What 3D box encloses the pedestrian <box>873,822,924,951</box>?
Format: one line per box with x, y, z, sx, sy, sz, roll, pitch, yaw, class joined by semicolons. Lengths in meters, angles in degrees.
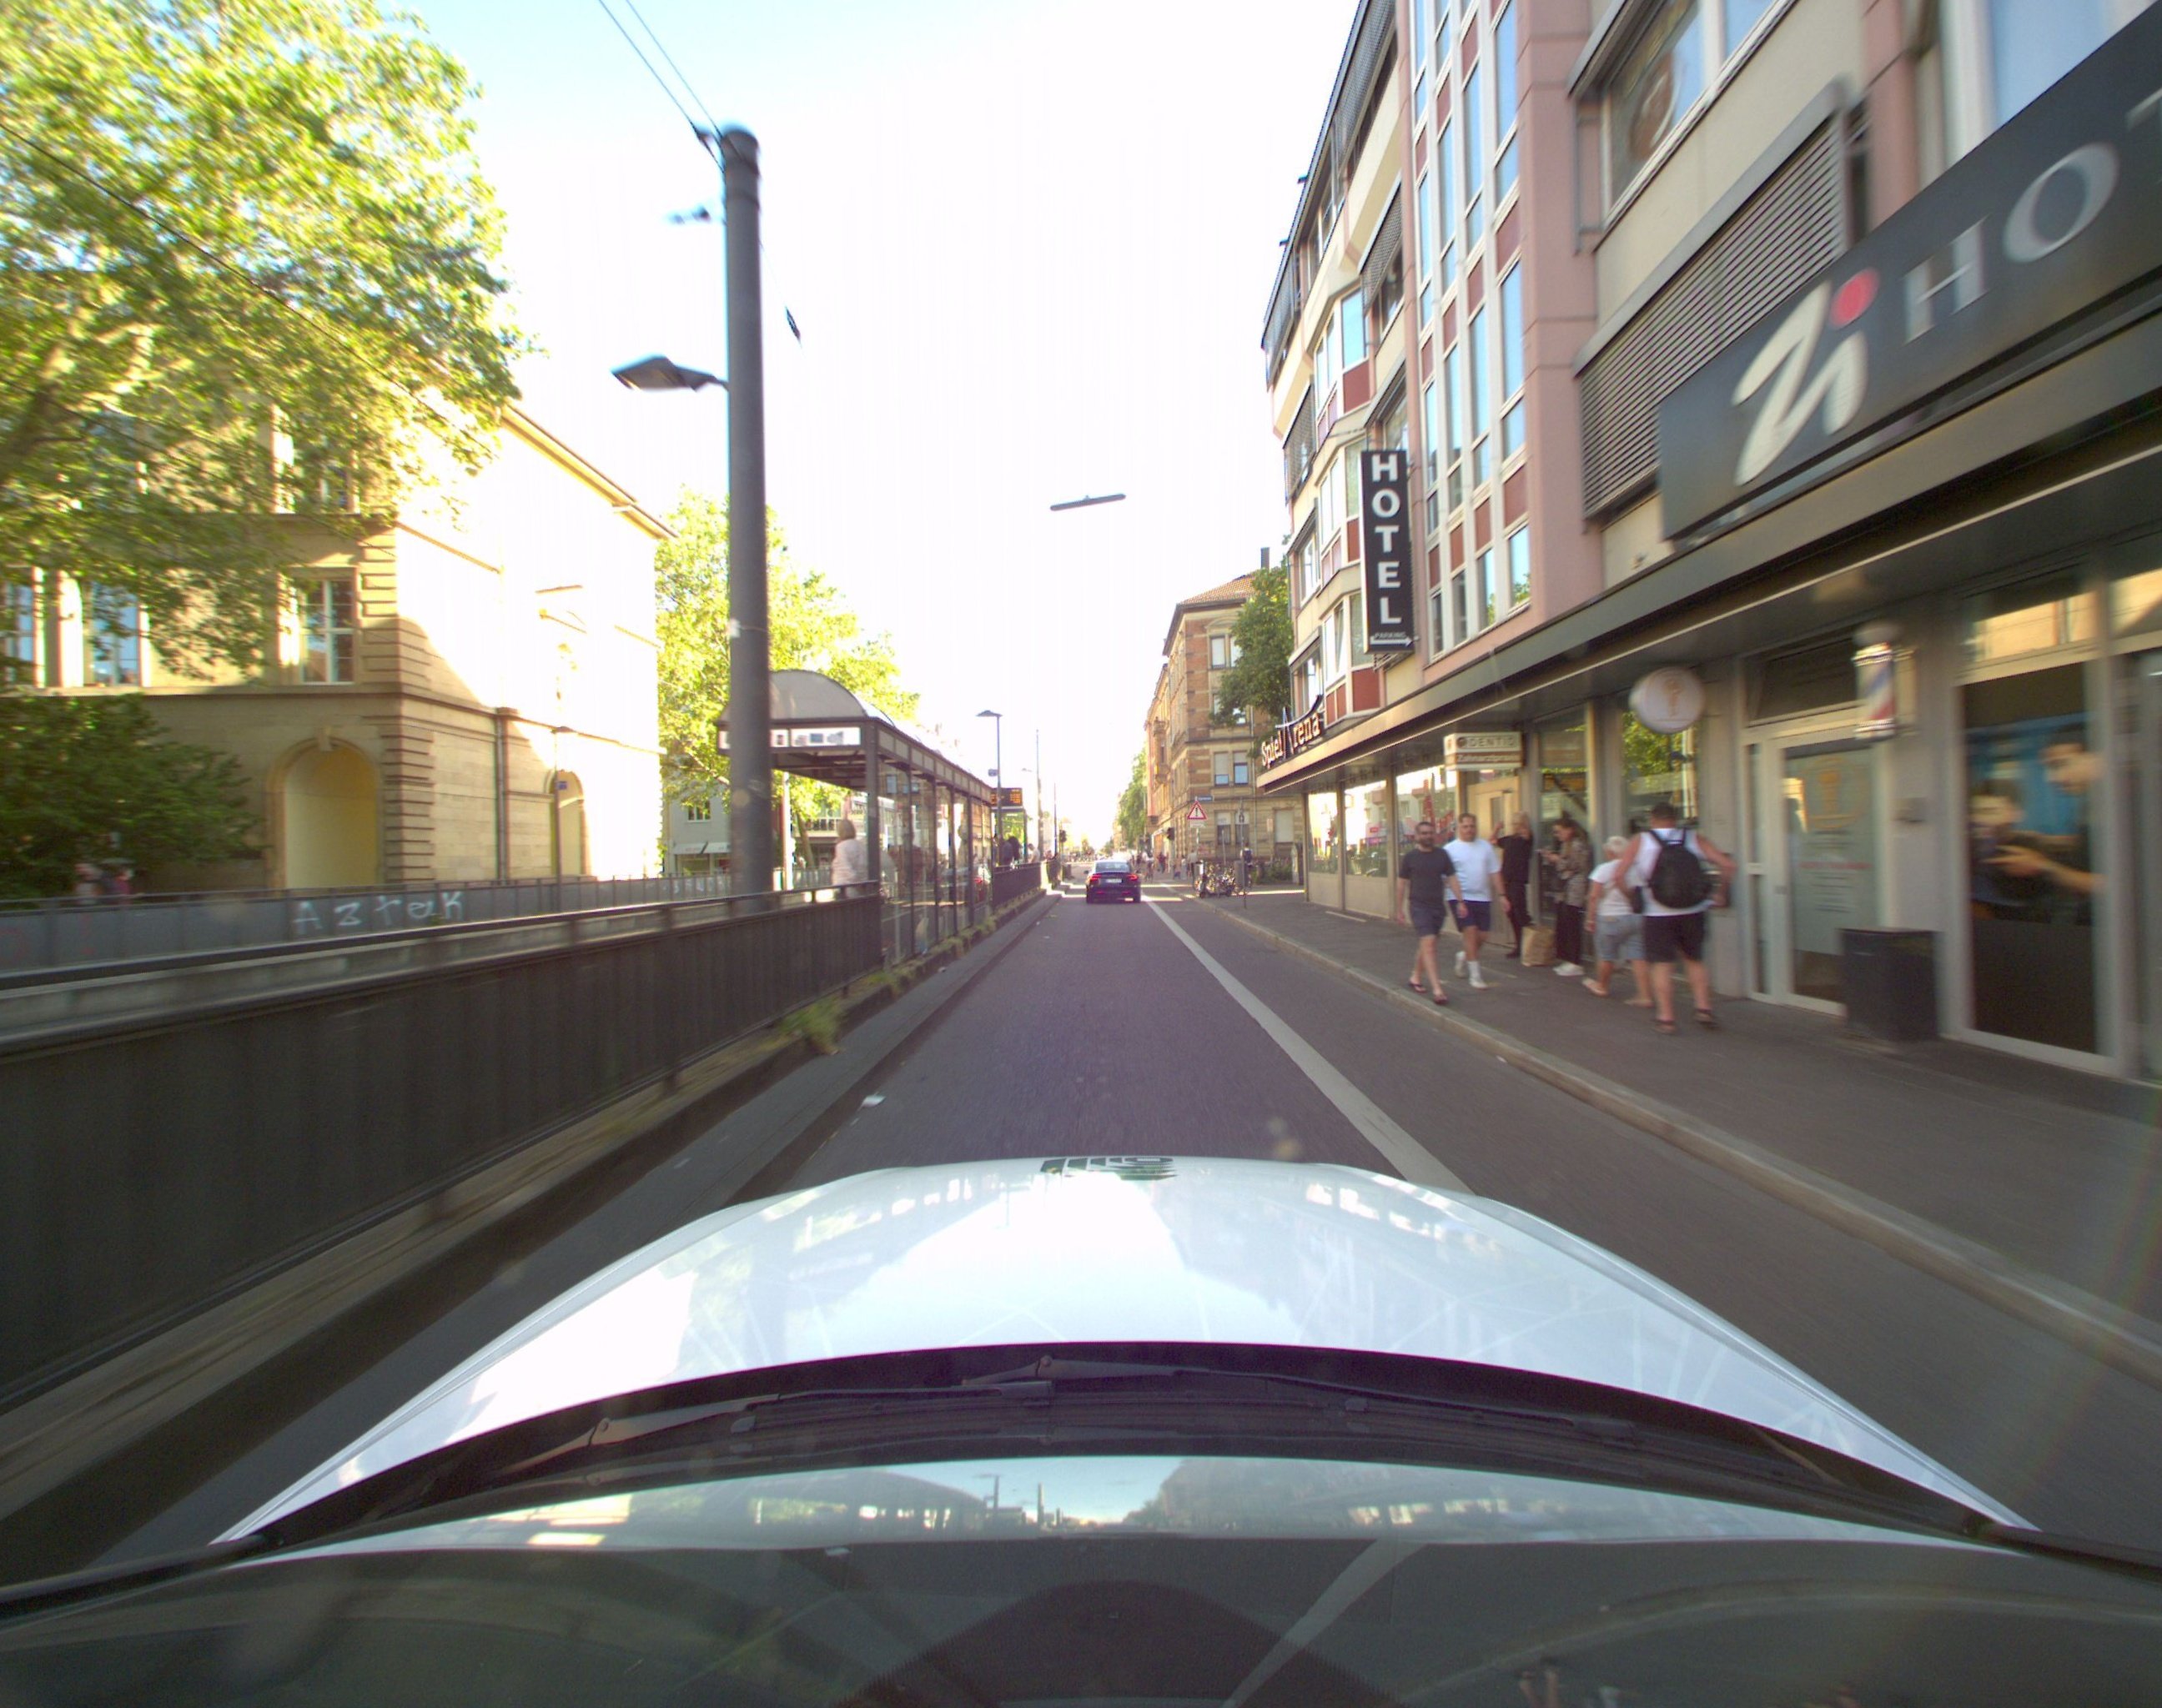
-2.293;0.399;10.246;0.545;1.572;0.318;0;-1;-37;pedestrian

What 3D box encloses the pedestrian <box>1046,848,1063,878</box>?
-1.639;0.568;50.382;0.587;1.821;0.948;0;0;34;pedestrian

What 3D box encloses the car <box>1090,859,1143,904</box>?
1.160;0.890;28.058;1.714;1.405;3.710;0;0;0;car

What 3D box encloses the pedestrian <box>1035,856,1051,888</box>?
-1.566;0.745;33.758;0.475;1.329;0.356;-2;0;31;pedestrian

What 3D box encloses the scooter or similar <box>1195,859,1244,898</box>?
4.643;0.811;27.359;1.473;1.229;0.592;-3;0;1;scooter or similar

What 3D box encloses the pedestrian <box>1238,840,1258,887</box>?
7.195;0.415;35.133;0.713;1.985;0.943;0;-4;1;pedestrian

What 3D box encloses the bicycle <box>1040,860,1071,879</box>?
-1.600;0.964;50.361;1.920;1.094;0.602;1;-1;35;bicycle

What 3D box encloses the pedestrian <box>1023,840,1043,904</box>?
-1.614;0.615;27.549;0.536;2.120;0.808;-2;0;1;pedestrian

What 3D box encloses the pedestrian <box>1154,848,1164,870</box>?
6.146;0.378;64.395;0.464;1.728;0.591;-2;0;37;pedestrian

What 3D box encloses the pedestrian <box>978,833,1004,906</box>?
-2.059;0.347;18.681;0.492;1.648;0.590;-1;0;0;pedestrian

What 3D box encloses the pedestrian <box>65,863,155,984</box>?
-16.815;1.179;14.120;0.687;2.013;0.701;-1;0;-9;pedestrian

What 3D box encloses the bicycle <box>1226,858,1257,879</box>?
9.086;0.820;46.132;0.446;1.115;1.793;-1;0;-40;bicycle

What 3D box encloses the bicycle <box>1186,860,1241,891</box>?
4.979;0.806;30.688;1.940;1.107;0.564;-2;0;-1;bicycle

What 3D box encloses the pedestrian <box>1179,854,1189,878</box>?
6.120;0.722;48.334;0.570;1.414;0.583;0;0;13;pedestrian

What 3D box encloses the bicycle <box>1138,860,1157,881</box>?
3.665;0.913;45.065;0.647;1.139;2.090;-1;0;-7;bicycle

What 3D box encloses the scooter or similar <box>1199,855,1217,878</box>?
7.080;0.691;45.493;0.391;1.289;1.515;-2;0;-14;scooter or similar

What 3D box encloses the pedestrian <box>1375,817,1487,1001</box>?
3.511;0.528;8.240;0.665;1.728;0.810;-4;-1;0;pedestrian

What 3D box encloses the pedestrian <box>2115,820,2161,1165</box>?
4.940;0.572;3.203;0.735;1.472;0.707;-4;-1;2;pedestrian

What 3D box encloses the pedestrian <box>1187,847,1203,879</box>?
6.618;0.533;47.285;0.843;1.807;0.878;-2;0;6;pedestrian

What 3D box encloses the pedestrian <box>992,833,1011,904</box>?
-1.914;0.342;19.612;0.350;1.669;0.529;-1;0;0;pedestrian

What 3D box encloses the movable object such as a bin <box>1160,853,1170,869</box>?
7.284;0.606;70.696;0.773;1.347;1.299;-1;-1;0;movable object such as a bin

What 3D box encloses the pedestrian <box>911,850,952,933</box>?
-2.289;0.573;12.526;0.538;1.252;0.460;0;-1;0;pedestrian

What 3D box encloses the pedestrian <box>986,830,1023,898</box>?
-2.115;0.285;22.442;0.775;1.831;0.796;1;-1;-29;pedestrian

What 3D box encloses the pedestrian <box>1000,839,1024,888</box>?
-2.486;0.346;29.273;0.760;1.734;0.590;-2;0;1;pedestrian

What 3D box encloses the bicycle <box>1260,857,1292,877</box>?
11.052;0.732;46.215;0.446;1.115;1.793;-1;0;-40;bicycle

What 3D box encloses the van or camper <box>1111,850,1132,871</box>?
4.129;0.688;83.770;1.924;2.037;5.475;0;-1;1;van or camper

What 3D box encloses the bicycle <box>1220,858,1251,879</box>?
8.686;0.820;45.880;0.446;1.115;1.794;-1;0;-39;bicycle

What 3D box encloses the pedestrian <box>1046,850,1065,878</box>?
-1.420;0.542;45.251;0.835;1.549;0.703;-2;0;24;pedestrian

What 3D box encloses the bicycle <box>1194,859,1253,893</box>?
5.005;0.782;28.625;1.940;1.107;0.564;-2;0;-1;bicycle

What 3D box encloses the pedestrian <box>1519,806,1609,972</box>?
5.338;0.378;9.024;0.627;1.769;0.501;-3;0;1;pedestrian

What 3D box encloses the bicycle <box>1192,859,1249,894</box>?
5.004;0.795;29.279;1.940;1.166;0.628;-2;0;-1;bicycle

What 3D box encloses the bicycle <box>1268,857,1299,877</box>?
11.535;0.733;46.449;0.446;1.115;1.793;-1;0;-40;bicycle

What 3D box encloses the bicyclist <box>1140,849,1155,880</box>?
3.674;0.570;44.981;0.654;1.656;0.925;-1;-1;-7;bicyclist

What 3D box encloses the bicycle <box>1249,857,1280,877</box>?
10.361;0.741;46.127;0.446;1.115;1.793;-1;0;-40;bicycle

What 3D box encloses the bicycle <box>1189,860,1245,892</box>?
4.993;0.799;30.040;1.940;1.107;0.564;-2;0;-1;bicycle

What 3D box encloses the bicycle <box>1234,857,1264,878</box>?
9.549;0.770;46.334;0.446;1.115;1.793;-1;0;-40;bicycle

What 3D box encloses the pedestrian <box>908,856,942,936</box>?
-2.304;0.612;12.030;0.407;1.152;0.460;0;-1;0;pedestrian

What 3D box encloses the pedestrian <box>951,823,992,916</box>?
-2.126;0.304;15.881;0.687;1.765;0.748;-1;0;0;pedestrian

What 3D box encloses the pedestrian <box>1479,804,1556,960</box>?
5.444;0.337;10.199;0.449;1.849;0.812;-3;0;0;pedestrian

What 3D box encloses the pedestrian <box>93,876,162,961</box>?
-19.965;1.340;17.062;0.676;1.713;0.614;-1;0;-1;pedestrian

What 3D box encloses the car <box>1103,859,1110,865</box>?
6.359;2.089;205.229;1.587;1.433;3.688;-2;-1;2;car

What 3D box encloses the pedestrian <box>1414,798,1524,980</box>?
4.141;0.358;8.746;0.703;1.820;0.763;-4;0;1;pedestrian

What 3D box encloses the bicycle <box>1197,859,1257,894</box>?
5.002;0.773;28.011;1.940;1.107;0.564;-2;0;-1;bicycle

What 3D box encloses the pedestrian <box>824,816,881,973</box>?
-2.364;0.411;8.449;0.422;1.573;0.448;-1;0;1;pedestrian

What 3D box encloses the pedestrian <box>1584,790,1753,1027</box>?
4.545;0.401;6.360;0.741;1.727;0.815;0;-1;2;pedestrian

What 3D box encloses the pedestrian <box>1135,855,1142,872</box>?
6.292;1.025;88.689;0.670;1.814;0.756;-1;-1;0;pedestrian

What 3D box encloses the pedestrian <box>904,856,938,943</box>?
-2.182;0.610;11.122;0.364;1.152;0.460;0;-1;0;pedestrian

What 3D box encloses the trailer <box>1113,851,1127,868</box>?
4.862;0.671;101.176;1.654;2.117;3.845;0;-1;3;trailer

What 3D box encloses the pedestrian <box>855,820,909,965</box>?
-2.230;0.422;9.172;0.422;1.573;0.593;-1;0;1;pedestrian

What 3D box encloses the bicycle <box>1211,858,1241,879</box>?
8.154;0.821;45.762;0.446;1.115;1.794;-1;0;-39;bicycle

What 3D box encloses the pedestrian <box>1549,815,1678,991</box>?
4.804;0.428;7.384;0.633;1.483;0.654;-4;-1;0;pedestrian
